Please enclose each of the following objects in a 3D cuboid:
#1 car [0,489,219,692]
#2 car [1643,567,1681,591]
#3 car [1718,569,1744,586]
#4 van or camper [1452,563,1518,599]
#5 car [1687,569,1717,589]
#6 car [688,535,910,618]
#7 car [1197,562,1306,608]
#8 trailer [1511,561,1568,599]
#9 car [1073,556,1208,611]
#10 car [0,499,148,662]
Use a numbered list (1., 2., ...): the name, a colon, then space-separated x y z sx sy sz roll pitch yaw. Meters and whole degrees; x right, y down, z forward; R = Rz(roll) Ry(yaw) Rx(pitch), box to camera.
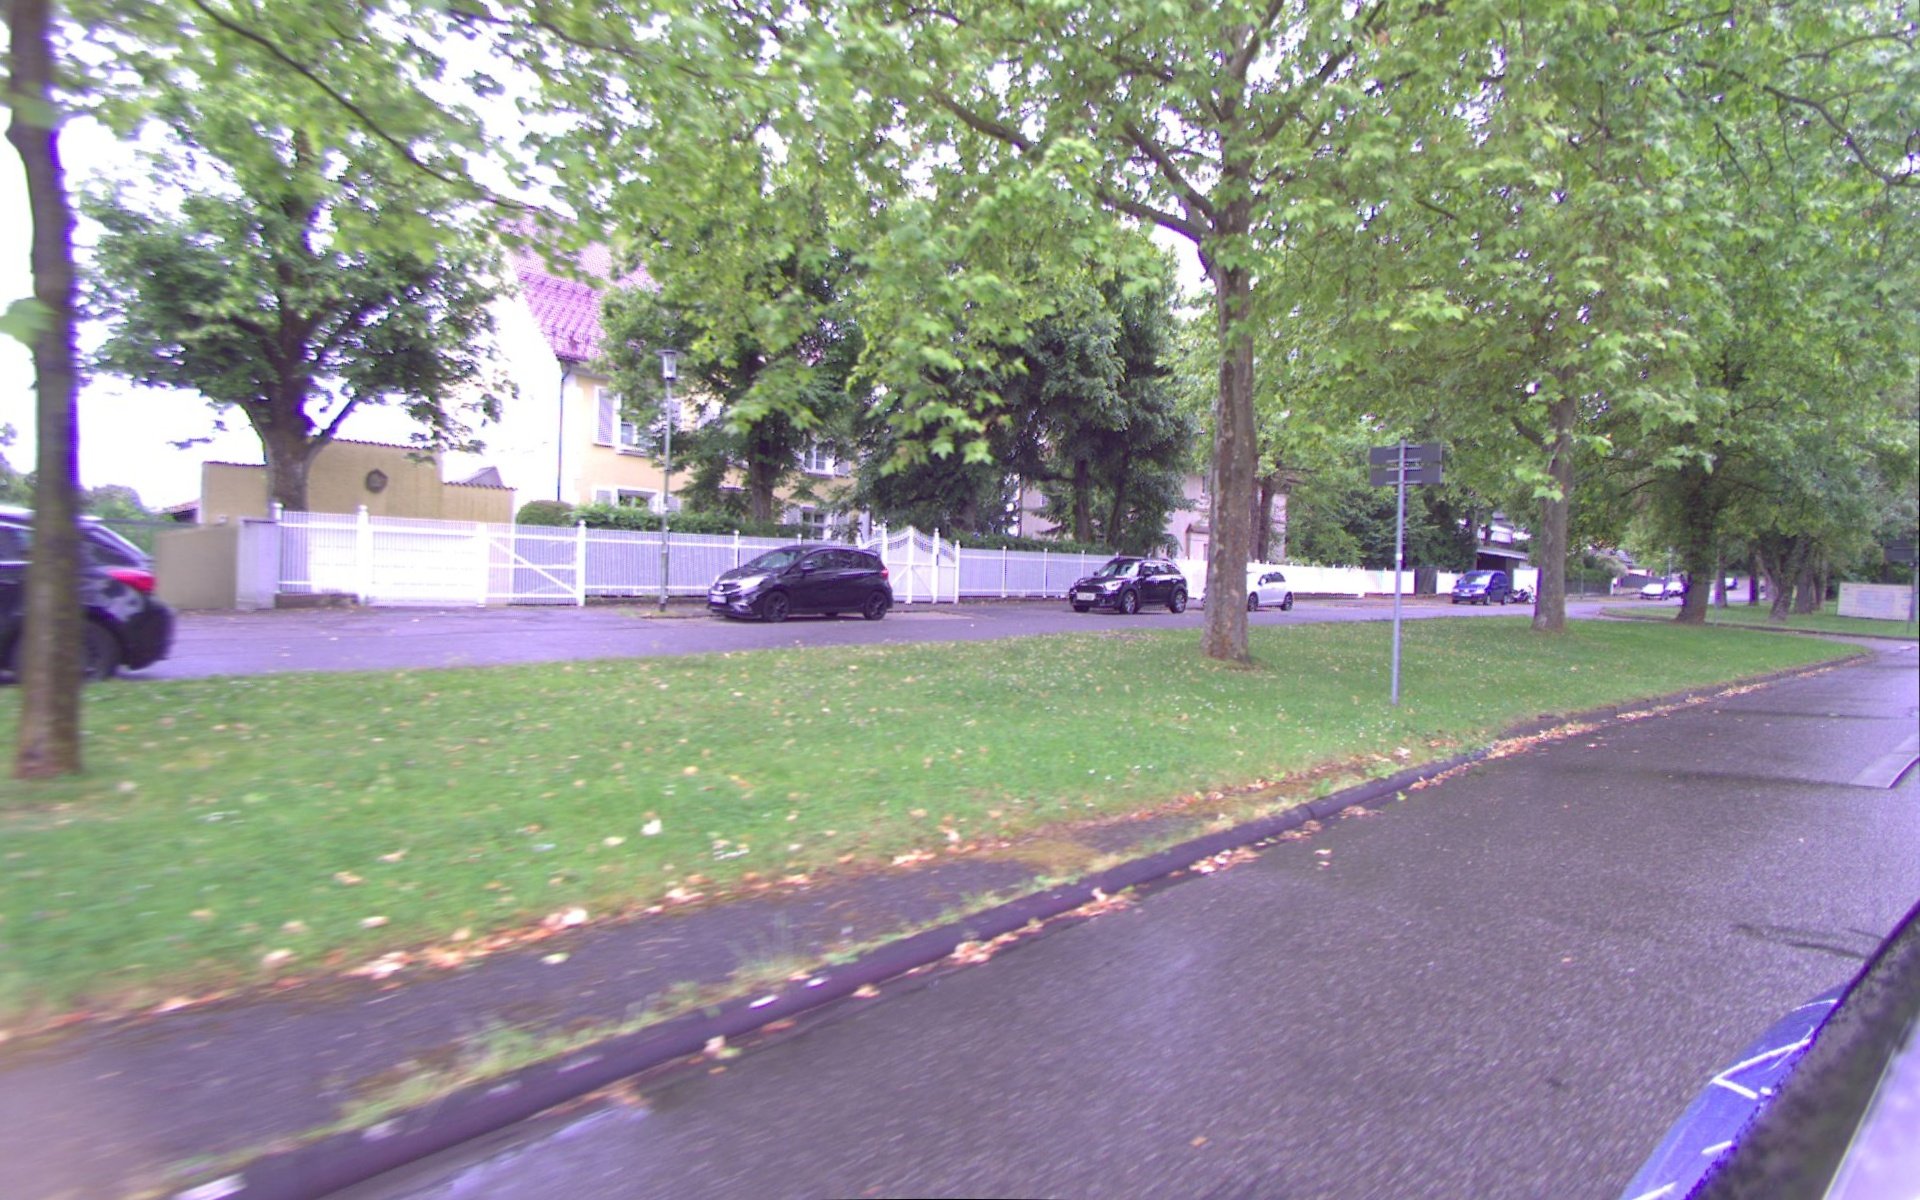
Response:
1. car: -8.341 -0.113 7.423 4.522 1.488 1.767 -1 4 -44
2. car: 62.703 -1.837 90.408 3.933 2.038 1.996 -1 3 -44
3. car: 95.101 -2.737 124.888 1.995 2.038 3.936 4 3 45
4. van or camper: 27.643 -0.987 53.250 1.992 1.831 4.703 0 1 42
5. car: 79.083 -2.241 107.853 1.995 2.038 3.936 4 3 45
6. car: -3.174 -0.446 20.640 1.760 1.490 4.289 -2 -1 43
7. car: 10.095 -0.522 34.865 1.993 1.467 4.060 0 1 43
8. trailer: 34.504 -1.183 60.193 1.767 2.143 5.110 0 1 44
9. car: 5.298 -0.481 29.439 1.993 1.489 4.060 0 1 43
10. car: -10.166 -0.208 9.084 4.354 1.489 1.847 -1 4 -44
